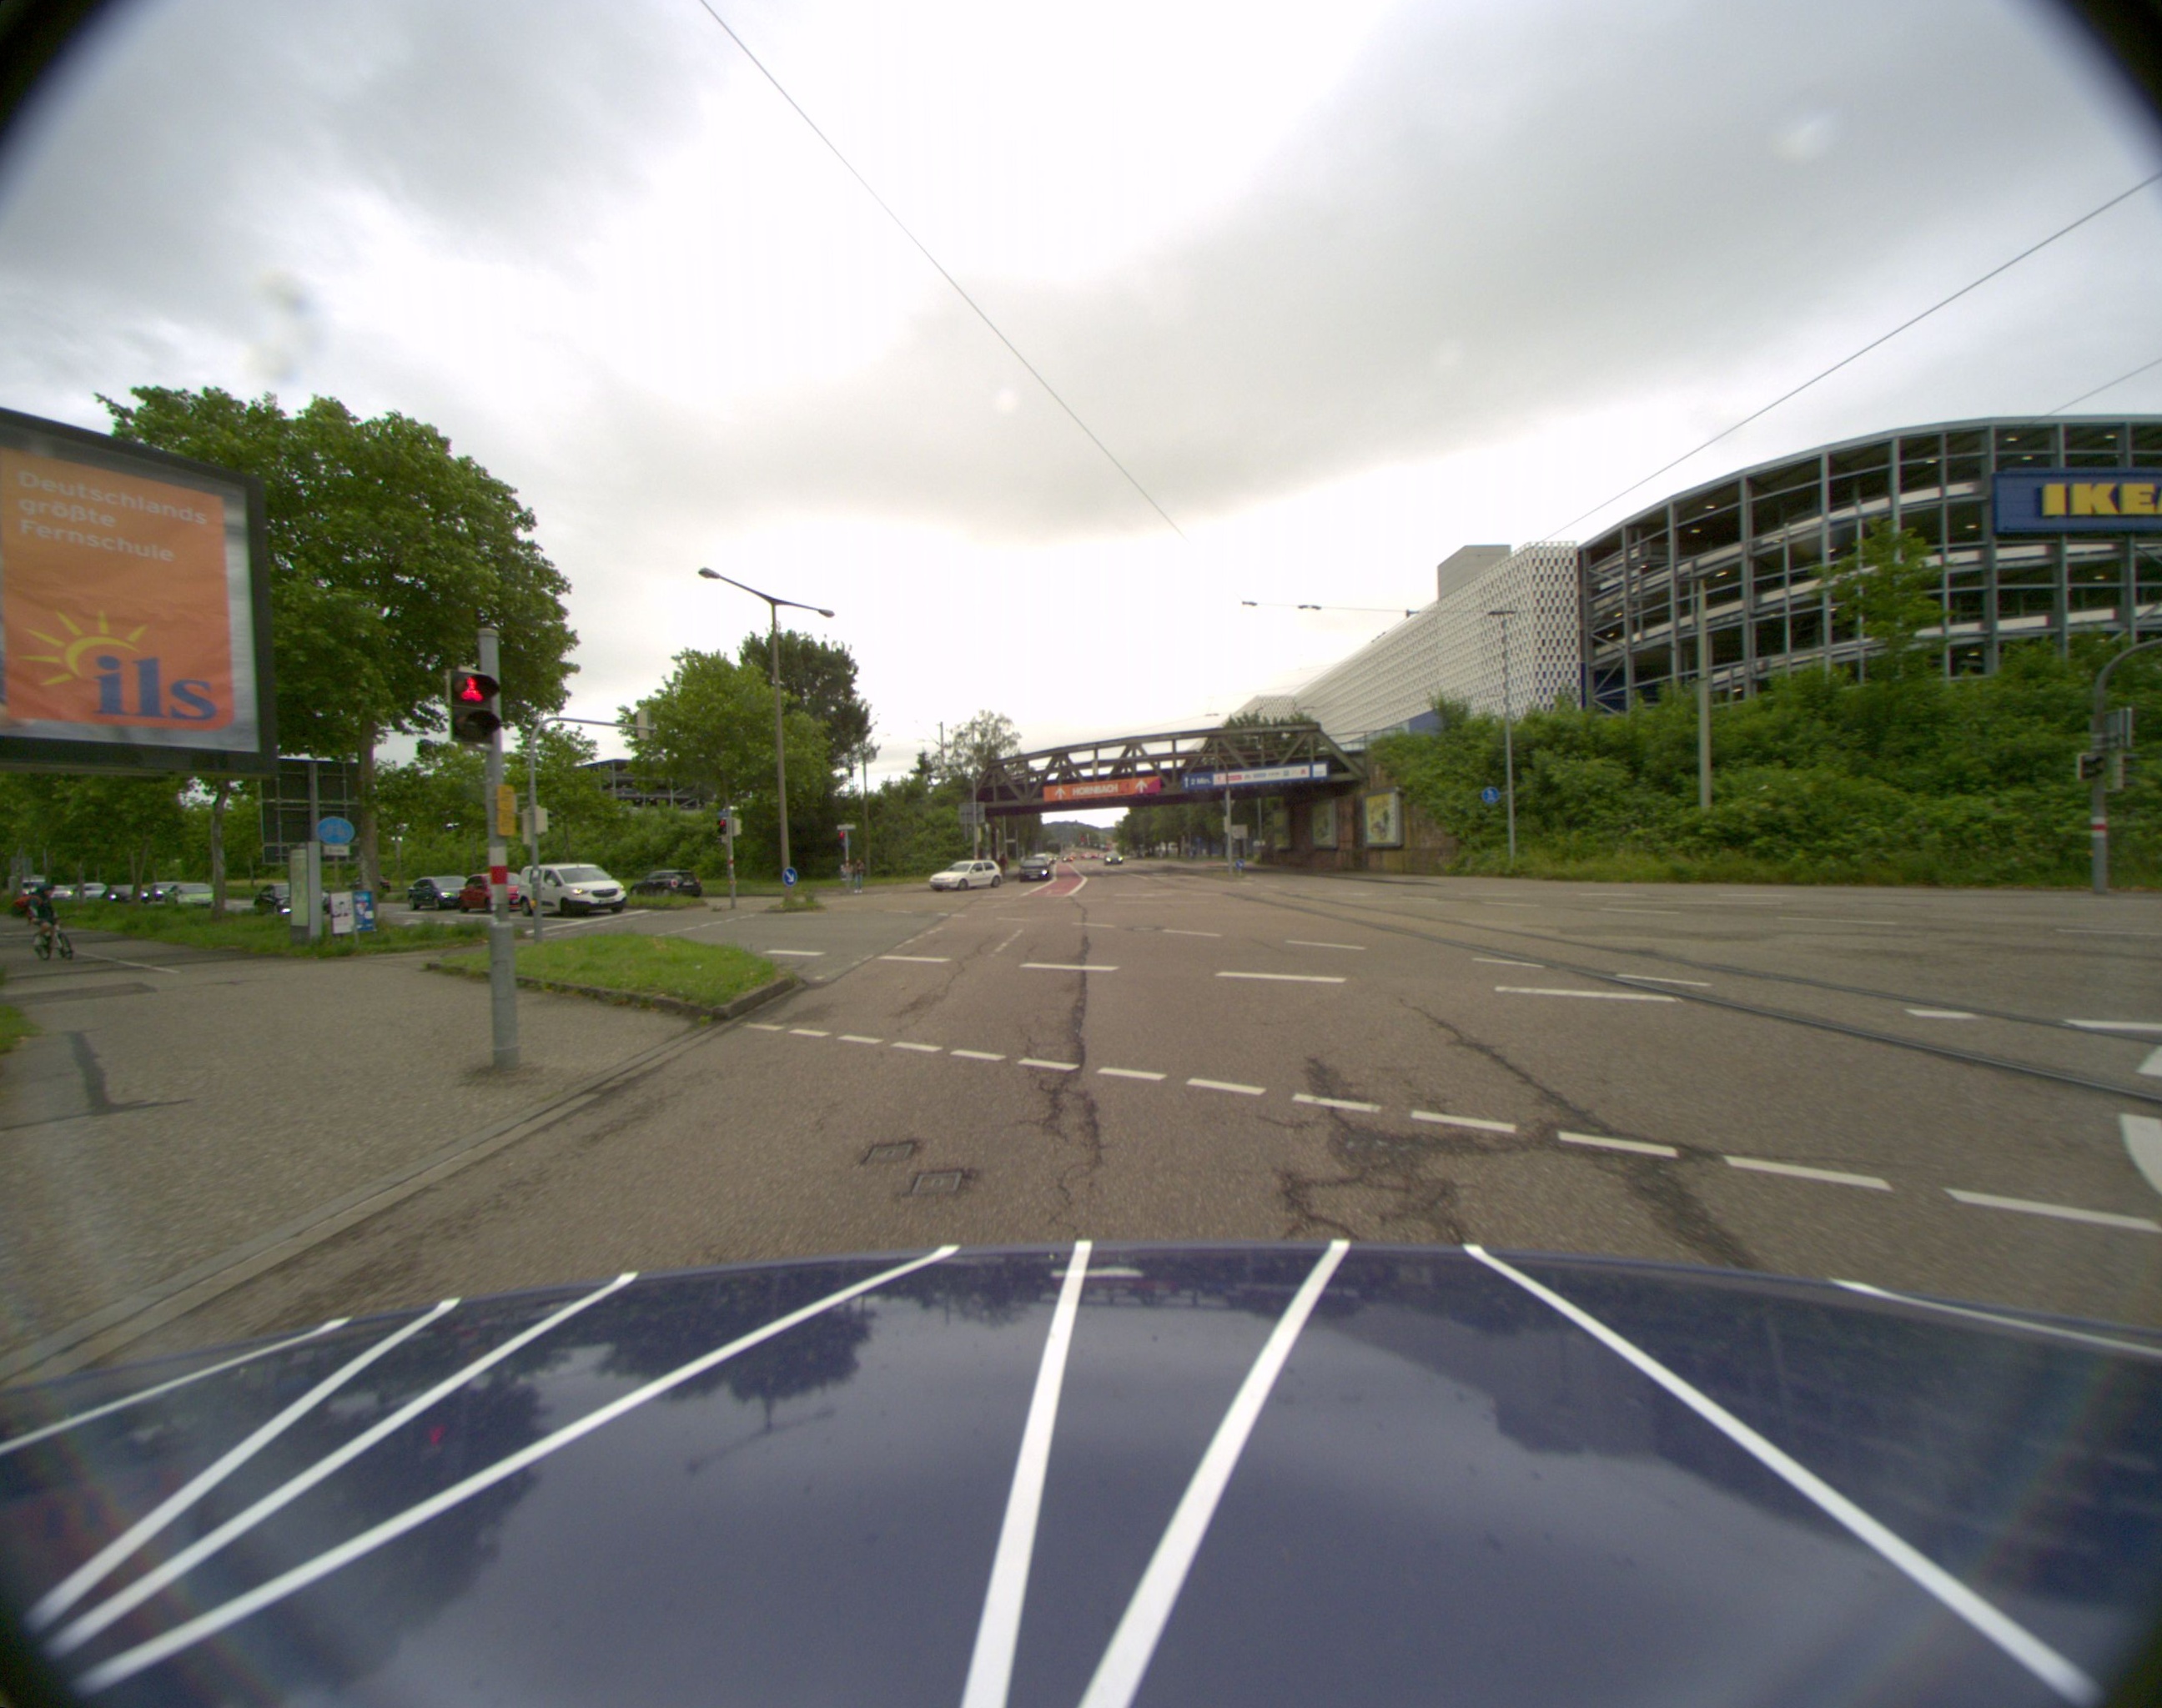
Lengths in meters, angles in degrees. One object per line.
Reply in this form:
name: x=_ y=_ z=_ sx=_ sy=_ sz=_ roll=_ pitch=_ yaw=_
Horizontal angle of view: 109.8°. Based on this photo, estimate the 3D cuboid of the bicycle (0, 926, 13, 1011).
bicycle: x=-15.088 y=1.552 z=9.561 sx=1.810 sy=1.111 sz=0.487 roll=-2 pitch=1 yaw=-40

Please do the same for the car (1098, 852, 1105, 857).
car: x=5.755 y=0.092 z=215.915 sx=1.628 sy=1.414 sz=3.610 roll=-1 pitch=0 yaw=-3

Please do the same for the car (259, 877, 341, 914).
car: x=-34.735 y=1.810 z=33.780 sx=4.055 sy=1.473 sz=1.699 roll=-2 pitch=1 yaw=33

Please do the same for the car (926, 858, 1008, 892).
car: x=-5.668 y=1.013 z=38.094 sx=1.723 sy=1.416 sz=3.948 roll=-3 pitch=0 yaw=36

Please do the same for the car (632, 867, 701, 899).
car: x=-20.480 y=1.452 z=37.480 sx=3.764 sy=1.422 sz=1.688 roll=-4 pitch=-2 yaw=40

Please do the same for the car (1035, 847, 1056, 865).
car: x=-3.864 y=0.204 z=82.035 sx=1.995 sy=1.838 sz=4.102 roll=-2 pitch=0 yaw=-5

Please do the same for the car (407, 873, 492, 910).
car: x=-27.831 y=1.638 z=33.464 sx=4.055 sy=1.473 sz=1.699 roll=-2 pitch=1 yaw=33

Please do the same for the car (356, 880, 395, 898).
car: x=-56.304 y=2.785 z=60.630 sx=3.410 sy=1.273 sz=1.656 roll=-3 pitch=0 yaw=37

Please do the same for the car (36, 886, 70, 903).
car: x=-104.701 y=4.102 z=77.393 sx=3.989 sy=1.524 sz=1.788 roll=-3 pitch=2 yaw=34

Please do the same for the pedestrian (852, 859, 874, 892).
pedestrian: x=-11.090 y=1.075 z=38.673 sx=0.743 sy=1.630 sz=0.779 roll=-2 pitch=1 yaw=13

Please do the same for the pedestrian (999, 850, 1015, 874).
pedestrian: x=-5.605 y=0.631 z=57.501 sx=0.785 sy=1.749 sz=0.876 roll=-2 pitch=1 yaw=38

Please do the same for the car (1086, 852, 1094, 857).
car: x=2.695 y=0.197 z=218.043 sx=1.823 sy=1.577 sz=4.511 roll=0 pitch=0 yaw=-6

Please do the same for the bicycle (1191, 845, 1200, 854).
bicycle: x=15.849 y=-0.578 z=105.314 sx=0.715 sy=1.180 sz=2.370 roll=-4 pitch=1 yaw=-2

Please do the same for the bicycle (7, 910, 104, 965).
bicycle: x=-22.717 y=1.833 z=16.838 sx=1.891 sy=1.142 sz=0.583 roll=-2 pitch=1 yaw=15

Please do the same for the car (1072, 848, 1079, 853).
car: x=-1.713 y=-1.093 z=240.908 sx=1.651 sy=1.788 sz=3.978 roll=-1 pitch=0 yaw=-9

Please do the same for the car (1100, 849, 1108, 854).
car: x=6.157 y=-0.650 z=202.704 sx=1.681 sy=1.420 sz=3.649 roll=-1 pitch=0 yaw=-5

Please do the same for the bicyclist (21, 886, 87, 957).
bicyclist: x=-22.724 y=1.475 z=16.815 sx=0.758 sy=1.511 sz=0.583 roll=-1 pitch=1 yaw=15

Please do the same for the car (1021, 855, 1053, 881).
car: x=-2.666 y=0.806 z=46.793 sx=1.837 sy=1.416 sz=3.999 roll=-3 pitch=0 yaw=-2

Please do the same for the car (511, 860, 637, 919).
car: x=-17.892 y=1.233 z=26.765 sx=4.409 sy=1.818 sz=1.883 roll=-2 pitch=3 yaw=31

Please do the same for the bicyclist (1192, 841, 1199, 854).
bicyclist: x=15.827 y=-0.895 z=105.349 sx=0.703 sy=1.864 sz=1.019 roll=-4 pitch=2 yaw=-2

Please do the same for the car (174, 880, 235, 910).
car: x=-51.552 y=2.433 z=44.686 sx=3.989 sy=1.524 sz=1.788 roll=-3 pitch=2 yaw=34

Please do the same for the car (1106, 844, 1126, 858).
car: x=3.804 y=-0.329 z=83.939 sx=1.837 sy=1.416 sz=3.999 roll=-3 pitch=0 yaw=-2

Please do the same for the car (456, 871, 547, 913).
car: x=-23.149 y=1.501 z=30.328 sx=3.678 sy=1.523 sz=1.699 roll=-2 pitch=1 yaw=33
